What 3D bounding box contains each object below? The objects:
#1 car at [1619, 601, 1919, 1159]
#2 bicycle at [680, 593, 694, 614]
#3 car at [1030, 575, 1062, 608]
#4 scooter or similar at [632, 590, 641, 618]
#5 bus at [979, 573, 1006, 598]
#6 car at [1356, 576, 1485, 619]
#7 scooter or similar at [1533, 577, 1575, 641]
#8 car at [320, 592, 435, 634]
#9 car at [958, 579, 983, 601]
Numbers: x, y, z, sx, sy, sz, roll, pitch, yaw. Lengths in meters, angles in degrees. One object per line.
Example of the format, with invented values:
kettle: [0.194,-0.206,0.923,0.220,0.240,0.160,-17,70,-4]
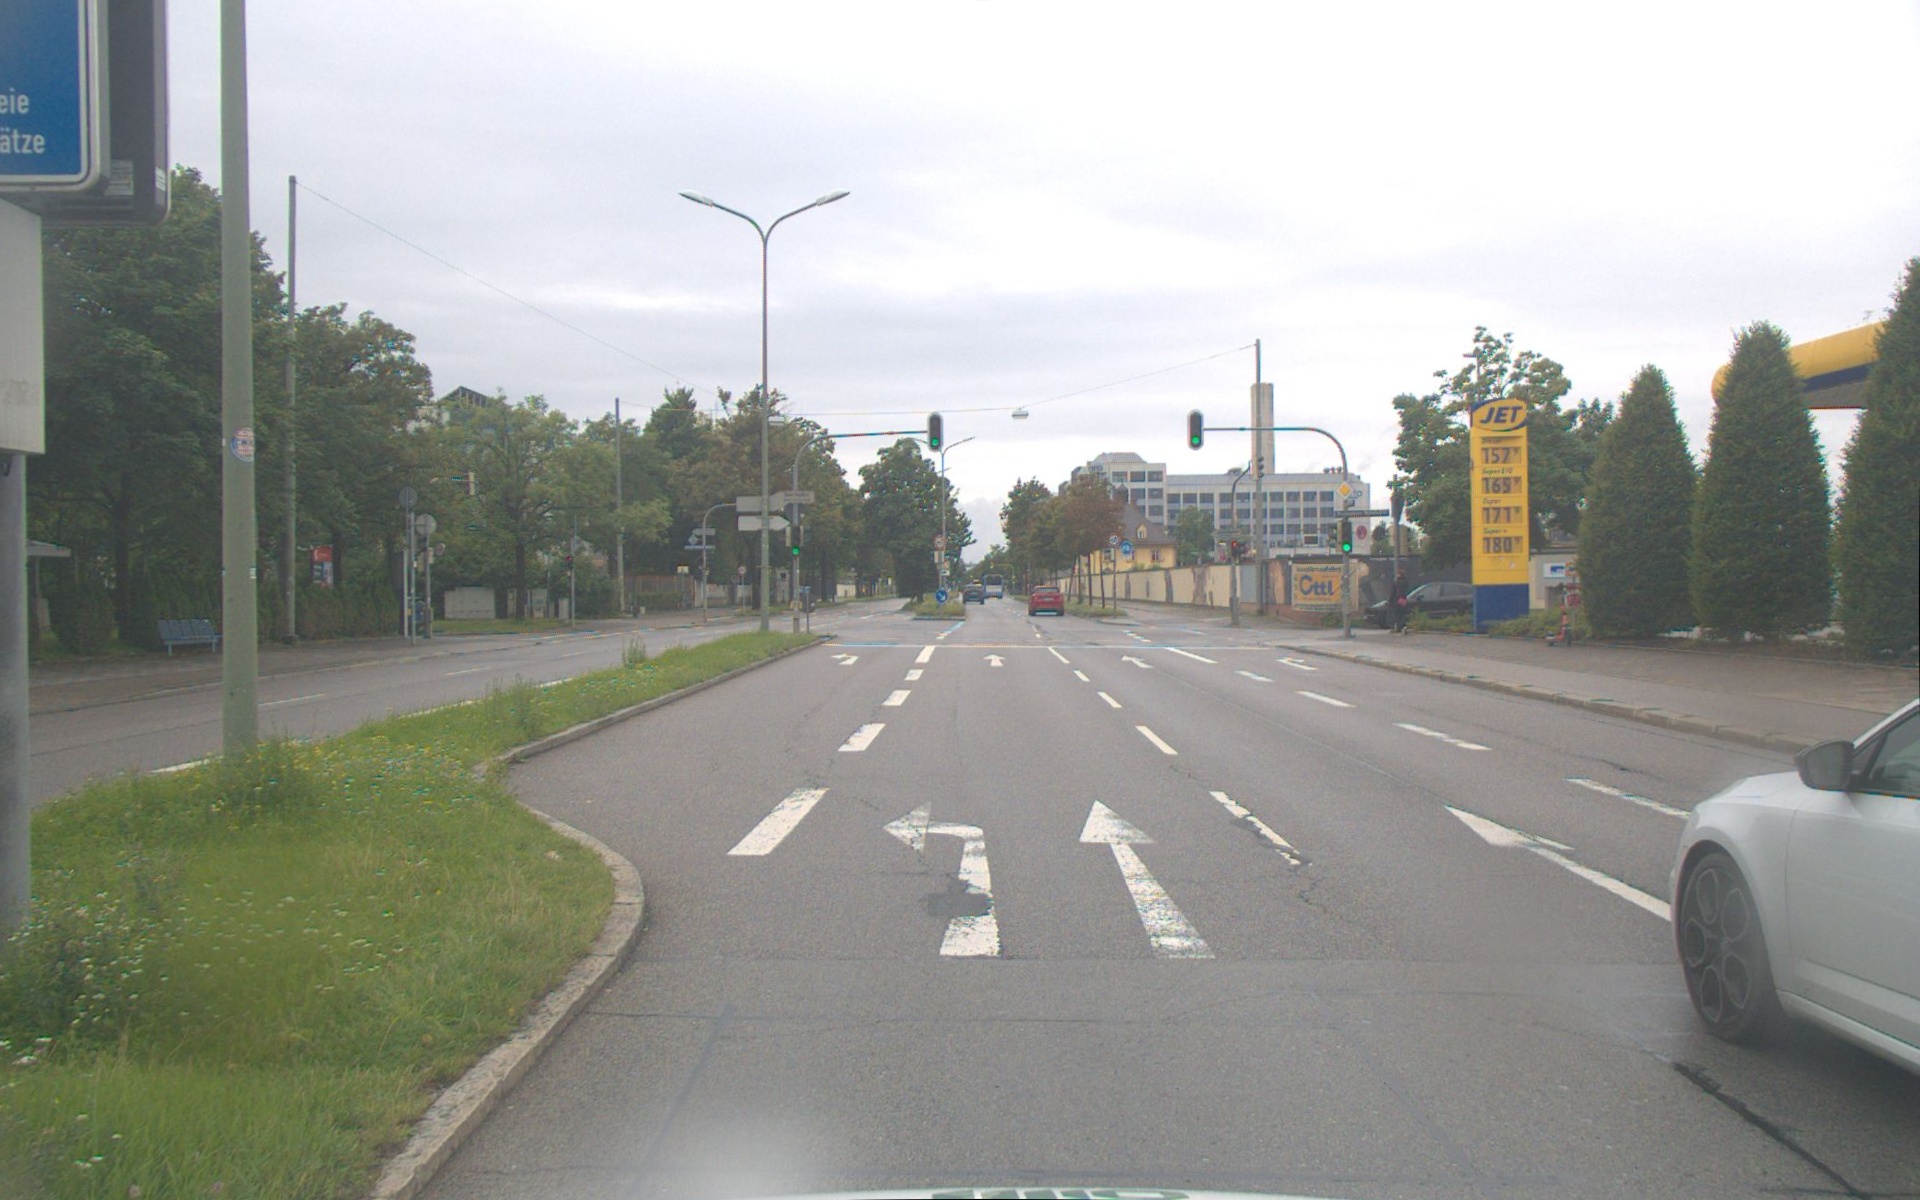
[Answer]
car: [3.523,0.769,4.159,1.840,1.493,4.500,0,0,-2]
bicycle: [-17.786,0.225,107.841,0.570,1.318,2.453,0,0,-2]
car: [4.617,-0.453,89.088,1.454,1.745,3.550,0,0,-1]
scooter or similar: [-17.304,0.216,88.550,0.364,1.449,1.400,0,0,-15]
bus: [4.296,-1.873,219.513,3.155,3.181,10.343,0,0,-1]
car: [16.699,-0.084,60.102,4.162,1.453,2.001,-1,0,3]
scooter or similar: [12.266,0.182,34.182,0.348,1.264,1.546,-3,0,5]
car: [-25.097,0.551,71.375,4.177,1.602,2.002,-1,2,9]
car: [0.892,-0.871,143.437,2.042,1.898,4.385,0,0,-1]
